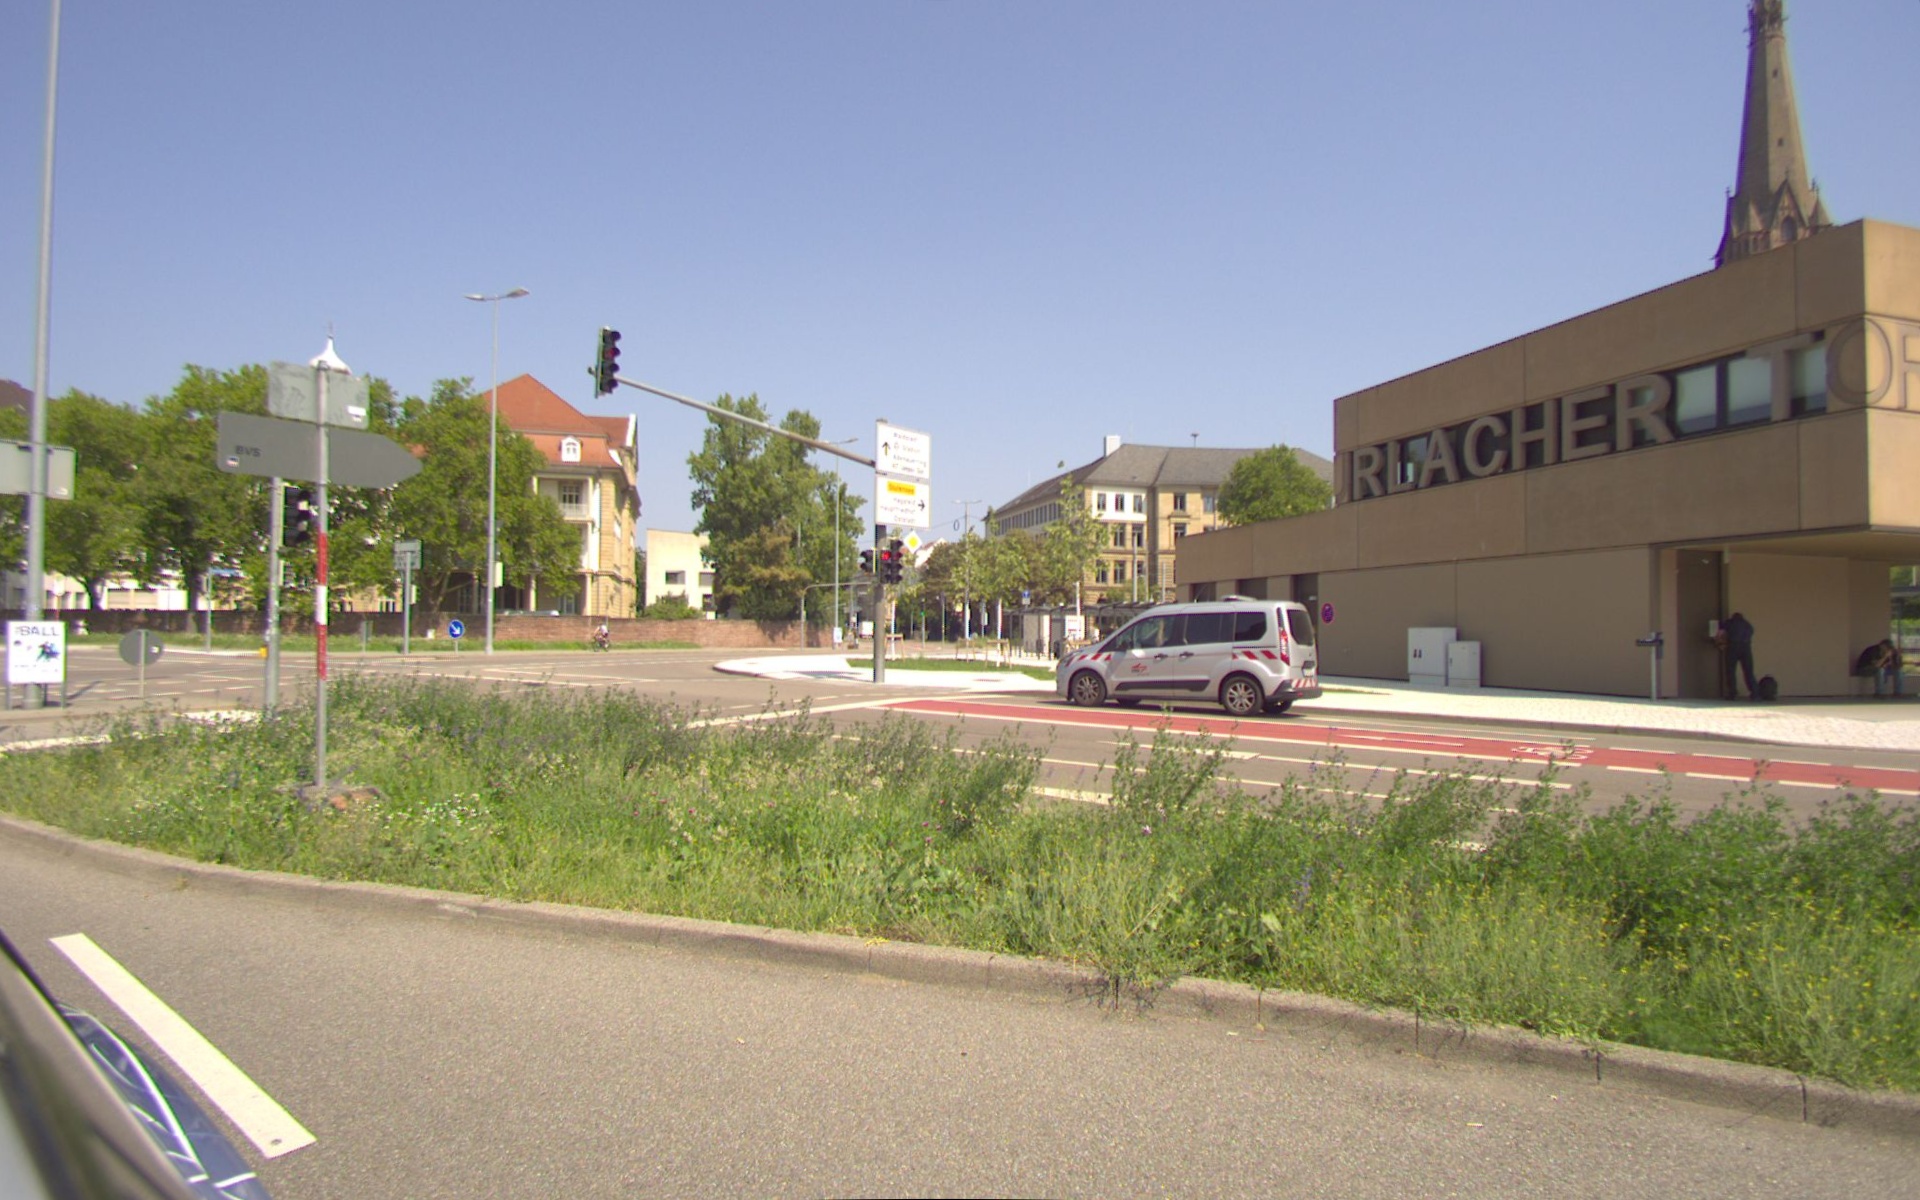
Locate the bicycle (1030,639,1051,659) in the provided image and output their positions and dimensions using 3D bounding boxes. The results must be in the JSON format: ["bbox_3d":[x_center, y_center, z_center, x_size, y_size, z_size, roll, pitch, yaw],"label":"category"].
[{"bbox_3d":[4.349,2.639,54.775,0.518,1.090,1.870,1,-3,-14],"label":"bicycle"}]

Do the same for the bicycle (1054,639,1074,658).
[{"bbox_3d":[5.635,2.623,54.823,0.518,1.048,1.775,1,-3,-14],"label":"bicycle"}]

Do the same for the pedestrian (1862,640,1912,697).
[{"bbox_3d":[18.026,1.321,19.684,0.531,1.092,0.502,1,-2,-17],"label":"pedestrian"}]

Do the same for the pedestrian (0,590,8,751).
[{"bbox_3d":[-10.358,0.740,10.401,0.688,1.708,0.609,2,-3,-35],"label":"pedestrian"}]

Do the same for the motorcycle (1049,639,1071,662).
[{"bbox_3d":[4.833,2.449,48.897,0.483,1.077,1.784,1,-3,-13],"label":"motorcycle"}]

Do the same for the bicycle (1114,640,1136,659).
[{"bbox_3d":[9.121,2.721,55.970,0.518,1.048,1.775,1,-3,-14],"label":"bicycle"}]

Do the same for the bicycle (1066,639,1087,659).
[{"bbox_3d":[6.317,2.641,54.951,0.518,1.048,1.775,1,-3,-14],"label":"bicycle"}]

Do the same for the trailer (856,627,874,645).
[{"bbox_3d":[-18.623,7.063,198.139,2.400,3.313,5.104,1,-2,-18],"label":"trailer"}]

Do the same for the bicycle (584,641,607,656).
[{"bbox_3d":[-21.154,2.805,58.724,0.433,0.818,1.478,0,-2,16],"label":"bicycle"}]

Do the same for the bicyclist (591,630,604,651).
[{"bbox_3d":[-21.106,2.364,58.895,0.429,1.242,0.537,0,-2,17],"label":"bicyclist"}]

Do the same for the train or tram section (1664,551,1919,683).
[{"bbox_3d":[26.930,0.689,31.286,3.091,3.597,8.268,2,-4,-16],"label":"train or tram section"}]

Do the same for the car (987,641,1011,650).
[{"bbox_3d":[5.318,6.138,137.933,3.005,1.185,1.255,1,-3,-20],"label":"car"}]

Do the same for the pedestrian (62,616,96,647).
[{"bbox_3d":[-58.594,2.101,67.336,1.217,2.029,1.072,1,-3,0],"label":"pedestrian"}]

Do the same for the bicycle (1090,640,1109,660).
[{"bbox_3d":[7.334,2.624,53.075,0.406,1.048,1.645,1,-3,-14],"label":"bicycle"}]

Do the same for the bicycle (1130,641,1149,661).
[{"bbox_3d":[9.547,2.704,53.860,0.406,1.048,1.645,1,-3,-14],"label":"bicycle"}]

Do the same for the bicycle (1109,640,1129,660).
[{"bbox_3d":[8.356,2.639,53.274,0.406,1.048,1.645,1,-3,-14],"label":"bicycle"}]

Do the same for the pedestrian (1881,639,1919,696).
[{"bbox_3d":[18.557,1.312,19.847,0.531,1.092,0.502,1,-2,-17],"label":"pedestrian"}]

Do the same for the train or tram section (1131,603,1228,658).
[{"bbox_3d":[15.326,2.231,71.480,3.084,3.588,8.352,2,-4,-16],"label":"train or tram section"}]

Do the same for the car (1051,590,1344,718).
[{"bbox_3d":[3.892,0.886,16.799,4.324,1.874,1.976,-1,-5,35],"label":"car"}]

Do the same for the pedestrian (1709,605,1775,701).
[{"bbox_3d":[14.234,0.951,18.437,0.741,1.701,0.629,0,-2,17],"label":"pedestrian"}]

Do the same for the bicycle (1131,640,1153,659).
[{"bbox_3d":[10.146,2.749,56.366,0.518,1.048,1.775,1,-3,-14],"label":"bicycle"}]

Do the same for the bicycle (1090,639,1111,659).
[{"bbox_3d":[7.751,2.701,55.850,0.518,1.048,1.775,1,-3,-14],"label":"bicycle"}]
